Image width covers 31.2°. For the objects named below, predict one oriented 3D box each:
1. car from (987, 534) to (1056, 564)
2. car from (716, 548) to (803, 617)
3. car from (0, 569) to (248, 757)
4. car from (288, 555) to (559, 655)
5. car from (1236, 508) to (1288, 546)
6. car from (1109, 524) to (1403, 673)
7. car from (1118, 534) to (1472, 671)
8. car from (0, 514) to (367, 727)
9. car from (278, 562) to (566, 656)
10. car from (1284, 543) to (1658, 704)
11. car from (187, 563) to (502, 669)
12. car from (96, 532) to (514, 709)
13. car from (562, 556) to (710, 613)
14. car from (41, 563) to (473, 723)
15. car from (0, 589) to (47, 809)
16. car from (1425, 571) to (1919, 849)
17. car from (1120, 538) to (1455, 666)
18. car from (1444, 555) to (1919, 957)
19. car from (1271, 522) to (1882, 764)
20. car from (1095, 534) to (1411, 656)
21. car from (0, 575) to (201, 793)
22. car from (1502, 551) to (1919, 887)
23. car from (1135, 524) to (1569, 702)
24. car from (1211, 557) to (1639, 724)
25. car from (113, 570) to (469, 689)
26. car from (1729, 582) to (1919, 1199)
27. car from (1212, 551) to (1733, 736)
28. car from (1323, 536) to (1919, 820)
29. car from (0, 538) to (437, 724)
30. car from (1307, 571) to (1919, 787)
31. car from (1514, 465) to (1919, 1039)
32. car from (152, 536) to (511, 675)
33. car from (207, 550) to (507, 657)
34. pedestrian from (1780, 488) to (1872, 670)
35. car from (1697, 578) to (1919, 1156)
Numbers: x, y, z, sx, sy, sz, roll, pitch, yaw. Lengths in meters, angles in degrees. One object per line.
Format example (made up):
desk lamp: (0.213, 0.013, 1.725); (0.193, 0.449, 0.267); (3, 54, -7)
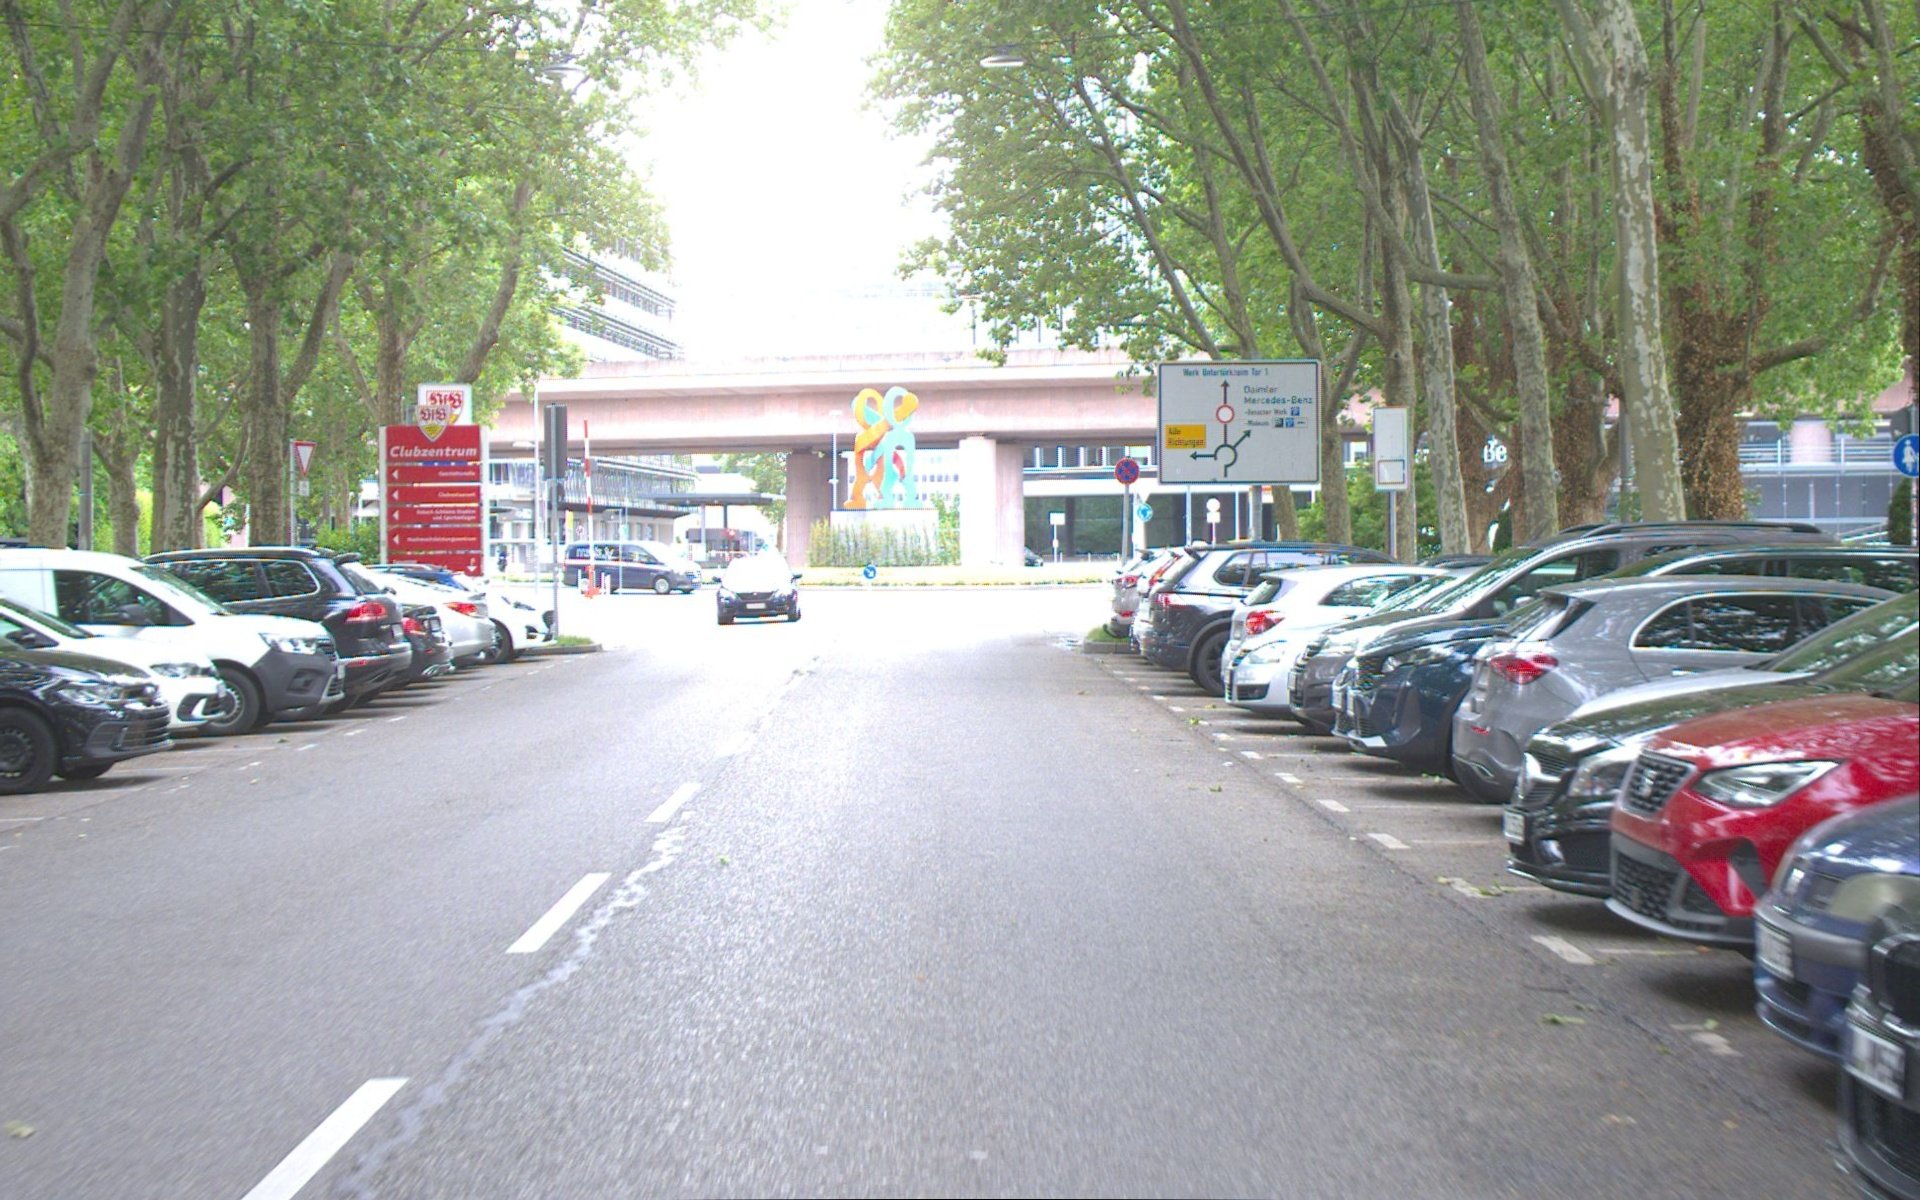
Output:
car: (3.670, -3.023, 204.918); (1.998, 1.766, 3.990); (1, 1, 42)
car: (-4.483, -0.399, 77.340); (1.842, 1.504, 4.015); (0, 0, -2)
car: (-8.029, 0.549, 29.251); (3.781, 1.467, 1.765); (-2, 1, -11)
car: (-8.472, 0.073, 54.513); (3.994, 1.535, 1.805); (0, 0, 1)
car: (16.446, -3.970, 187.020); (1.995, 2.007, 3.997); (0, 0, 17)
car: (4.182, -0.038, 49.109); (3.987, 2.007, 2.000); (1, 1, 0)
car: (4.270, 0.012, 44.300); (4.346, 1.628, 1.926); (1, 1, 0)
car: (-7.823, 0.192, 31.945); (4.317, 1.804, 1.868); (-2, 1, -4)
car: (-8.121, 0.125, 52.102); (3.994, 1.380, 1.911); (0, 0, 3)
car: (5.078, 0.217, 34.463); (3.434, 1.487, 1.680); (-2, 1, -1)
car: (-8.404, 0.210, 47.172); (3.987, 1.400, 1.862); (0, 0, 0)
car: (-7.359, 0.208, 38.919); (4.317, 1.804, 1.868); (-2, 1, 0)
car: (-11.603, -0.565, 123.191); (4.771, 2.007, 2.282); (0, 0, 16)
car: (-7.488, 0.440, 36.907); (4.129, 1.447, 2.013); (-3, 1, 2)
car: (-8.307, 0.707, 21.855); (4.463, 1.365, 1.880); (-2, 1, -1)
car: (4.919, 0.596, 19.267); (4.346, 1.408, 1.926); (1, 1, 0)
car: (4.396, 0.009, 46.648); (4.346, 1.599, 1.926); (1, 1, 0)
car: (4.383, 0.611, 14.243); (4.345, 1.497, 1.926); (1, 1, -6)
car: (4.713, 0.303, 26.697); (4.346, 1.739, 1.837); (1, 1, -2)
car: (4.156, -0.092, 49.268); (4.346, 1.628, 1.926); (1, 1, 0)
car: (-7.583, 0.633, 24.233); (3.979, 1.416, 1.755); (-3, 1, 3)
car: (4.990, 0.557, 16.745); (4.346, 1.497, 1.926); (1, 1, -1)
car: (4.137, 0.121, 36.772); (4.346, 1.755, 1.926); (1, 1, -2)
car: (4.251, 0.355, 31.766); (3.639, 1.422, 1.666); (1, 1, -3)
car: (-8.088, 0.344, 41.809); (3.986, 1.399, 1.885); (0, 0, -1)
car: (4.041, 0.724, 6.998); (4.495, 1.423, 1.932); (1, 1, 0)
car: (4.293, 0.344, 29.224); (4.148, 1.453, 1.727); (1, 1, 0)
car: (4.676, 0.462, 21.646); (4.591, 1.633, 1.872); (1, 1, 2)
car: (-7.564, 0.291, 34.463); (4.317, 1.789, 2.037); (0, 0, 0)
car: (4.572, 0.533, 24.324); (4.040, 1.375, 1.744); (1, 1, 0)
car: (4.419, 0.481, 11.979); (4.494, 1.790, 2.048); (1, 1, -6)
car: (-8.073, 0.064, 44.429); (4.263, 1.543, 1.908); (-3, 0, -2)
car: (-8.655, 0.041, 49.569); (3.994, 1.488, 1.832); (0, 0, 0)
pedestrian: (9.633, -0.235, 38.247); (0.784, 2.007, 0.599); (0, 0, -16)
car: (4.454, 0.695, 9.363); (4.495, 1.415, 1.829); (1, 1, 1)
